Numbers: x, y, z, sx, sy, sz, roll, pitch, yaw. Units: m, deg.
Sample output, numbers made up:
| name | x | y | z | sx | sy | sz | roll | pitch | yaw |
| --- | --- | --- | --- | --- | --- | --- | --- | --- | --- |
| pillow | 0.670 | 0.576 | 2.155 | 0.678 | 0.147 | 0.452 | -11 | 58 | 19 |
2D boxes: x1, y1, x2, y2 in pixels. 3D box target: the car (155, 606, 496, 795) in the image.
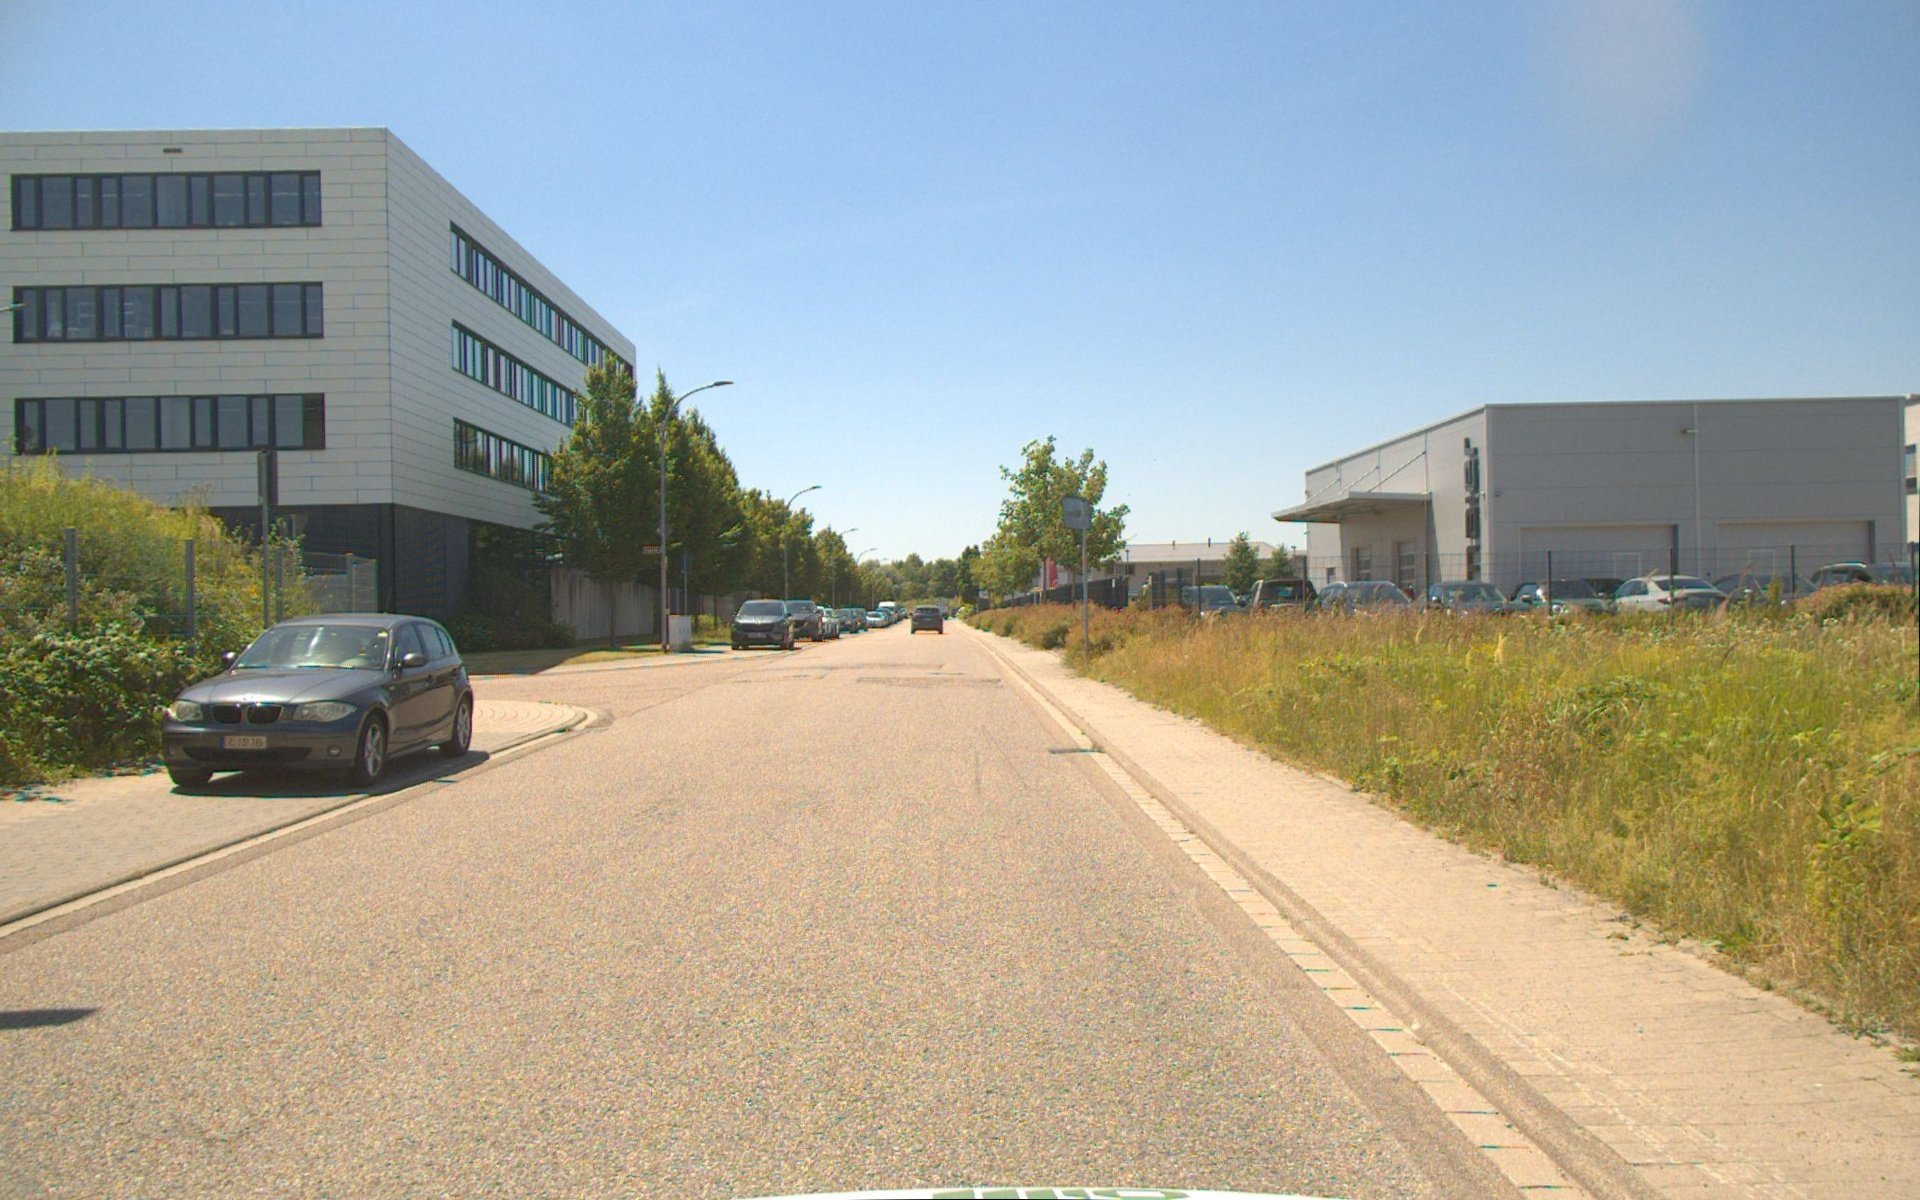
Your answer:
| name | x | y | z | sx | sy | sz | roll | pitch | yaw |
| --- | --- | --- | --- | --- | --- | --- | --- | --- | --- |
| car | -5.684 | 0.823 | 15.364 | 1.640 | 1.476 | 4.068 | 1 | 0 | -1 |

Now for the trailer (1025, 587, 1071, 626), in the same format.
| name | x | y | z | sx | sy | sz | roll | pitch | yaw |
| --- | --- | --- | --- | --- | --- | --- | --- | --- | --- |
| trailer | 5.845 | 0.448 | 109.661 | 2.767 | 2.445 | 1.418 | -3 | -1 | -5 |

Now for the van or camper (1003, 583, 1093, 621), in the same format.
| name | x | y | z | sx | sy | sz | roll | pitch | yaw |
| --- | --- | --- | --- | --- | --- | --- | --- | --- | --- |
| van or camper | 6.689 | 0.170 | 125.990 | 6.621 | 2.630 | 2.635 | -2 | -1 | -2 |

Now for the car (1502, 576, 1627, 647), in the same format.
| name | x | y | z | sx | sy | sz | roll | pitch | yaw |
| --- | --- | --- | --- | --- | --- | --- | --- | --- | --- |
| car | 13.333 | 0.257 | 36.647 | 1.428 | 1.437 | 3.330 | -2 | -1 | -2 |

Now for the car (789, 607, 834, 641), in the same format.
| name | x | y | z | sx | sy | sz | roll | pitch | yaw |
| --- | --- | --- | --- | --- | --- | --- | --- | --- | --- |
| car | -6.760 | 1.058 | 75.473 | 1.735 | 1.456 | 4.200 | 1 | 0 | -1 |

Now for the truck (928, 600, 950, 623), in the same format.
| name | x | y | z | sx | sy | sz | roll | pitch | yaw |
| --- | --- | --- | --- | --- | --- | --- | --- | --- | --- |
| truck | -2.835 | 1.589 | 225.375 | 2.873 | 3.026 | 6.418 | 1 | -1 | -1 |

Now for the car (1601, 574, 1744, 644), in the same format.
| name | x | y | z | sx | sy | sz | roll | pitch | yaw |
| --- | --- | --- | --- | --- | --- | --- | --- | --- | --- |
| car | 15.651 | 0.202 | 36.507 | 1.484 | 1.421 | 3.539 | -2 | -1 | -2 |

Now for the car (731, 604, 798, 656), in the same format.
| name | x | y | z | sx | sy | sz | roll | pitch | yaw |
| --- | --- | --- | --- | --- | --- | --- | --- | --- | --- |
| car | -6.458 | 0.978 | 54.911 | 1.735 | 1.615 | 4.480 | -1 | -1 | -1 |

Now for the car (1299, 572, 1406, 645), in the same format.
| name | x | y | z | sx | sy | sz | roll | pitch | yaw |
| --- | --- | --- | --- | --- | --- | --- | --- | --- | --- |
| car | 8.800 | 0.198 | 37.311 | 1.484 | 1.522 | 3.330 | -2 | -1 | -2 |

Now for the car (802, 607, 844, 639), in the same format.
| name | x | y | z | sx | sy | sz | roll | pitch | yaw |
| --- | --- | --- | --- | --- | --- | --- | --- | --- | --- |
| car | -6.616 | 1.109 | 80.120 | 1.735 | 1.456 | 3.939 | 1 | 0 | -1 |

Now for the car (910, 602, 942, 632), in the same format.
| name | x | y | z | sx | sy | sz | roll | pitch | yaw |
| --- | --- | --- | --- | --- | --- | --- | --- | --- | --- |
| car | -1.883 | 0.950 | 92.829 | 1.753 | 1.652 | 3.808 | 1 | -1 | -1 |

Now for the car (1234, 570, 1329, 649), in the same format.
| name | x | y | z | sx | sy | sz | roll | pitch | yaw |
| --- | --- | --- | --- | --- | --- | --- | --- | --- | --- |
| car | 6.931 | 0.206 | 35.851 | 1.437 | 1.601 | 2.661 | -2 | -1 | -1 |

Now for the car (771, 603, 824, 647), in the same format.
| name | x | y | z | sx | sy | sz | roll | pitch | yaw |
| --- | --- | --- | --- | --- | --- | --- | --- | --- | --- |
| car | -6.583 | 0.989 | 67.406 | 1.735 | 1.652 | 4.581 | 1 | 0 | -1 |

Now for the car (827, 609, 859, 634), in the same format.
| name | x | y | z | sx | sy | sz | roll | pitch | yaw |
| --- | --- | --- | --- | --- | --- | --- | --- | --- | --- |
| car | -7.222 | 1.340 | 102.432 | 1.735 | 1.456 | 4.200 | 1 | 0 | -1 |

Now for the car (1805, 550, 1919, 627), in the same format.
| name | x | y | z | sx | sy | sz | roll | pitch | yaw |
| --- | --- | --- | --- | --- | --- | --- | --- | --- | --- |
| car | 21.058 | -0.249 | 37.712 | 1.484 | 1.662 | 3.782 | -2 | -1 | -2 |

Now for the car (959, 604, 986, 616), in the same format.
| name | x | y | z | sx | sy | sz | roll | pitch | yaw |
| --- | --- | --- | --- | --- | --- | --- | --- | --- | --- |
| car | 1.851 | 1.453 | 240.606 | 3.798 | 1.780 | 1.750 | 1 | -1 | -3 |

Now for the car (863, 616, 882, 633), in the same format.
| name | x | y | z | sx | sy | sz | roll | pitch | yaw |
| --- | --- | --- | --- | --- | --- | --- | --- | --- | --- |
| car | -8.093 | 2.268 | 152.694 | 1.686 | 1.502 | 3.855 | -1 | -1 | -3 |

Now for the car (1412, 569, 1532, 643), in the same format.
| name | x | y | z | sx | sy | sz | roll | pitch | yaw |
| --- | --- | --- | --- | --- | --- | --- | --- | --- | --- |
| car | 11.269 | 0.149 | 36.612 | 1.484 | 1.522 | 3.330 | -2 | -1 | -2 |
